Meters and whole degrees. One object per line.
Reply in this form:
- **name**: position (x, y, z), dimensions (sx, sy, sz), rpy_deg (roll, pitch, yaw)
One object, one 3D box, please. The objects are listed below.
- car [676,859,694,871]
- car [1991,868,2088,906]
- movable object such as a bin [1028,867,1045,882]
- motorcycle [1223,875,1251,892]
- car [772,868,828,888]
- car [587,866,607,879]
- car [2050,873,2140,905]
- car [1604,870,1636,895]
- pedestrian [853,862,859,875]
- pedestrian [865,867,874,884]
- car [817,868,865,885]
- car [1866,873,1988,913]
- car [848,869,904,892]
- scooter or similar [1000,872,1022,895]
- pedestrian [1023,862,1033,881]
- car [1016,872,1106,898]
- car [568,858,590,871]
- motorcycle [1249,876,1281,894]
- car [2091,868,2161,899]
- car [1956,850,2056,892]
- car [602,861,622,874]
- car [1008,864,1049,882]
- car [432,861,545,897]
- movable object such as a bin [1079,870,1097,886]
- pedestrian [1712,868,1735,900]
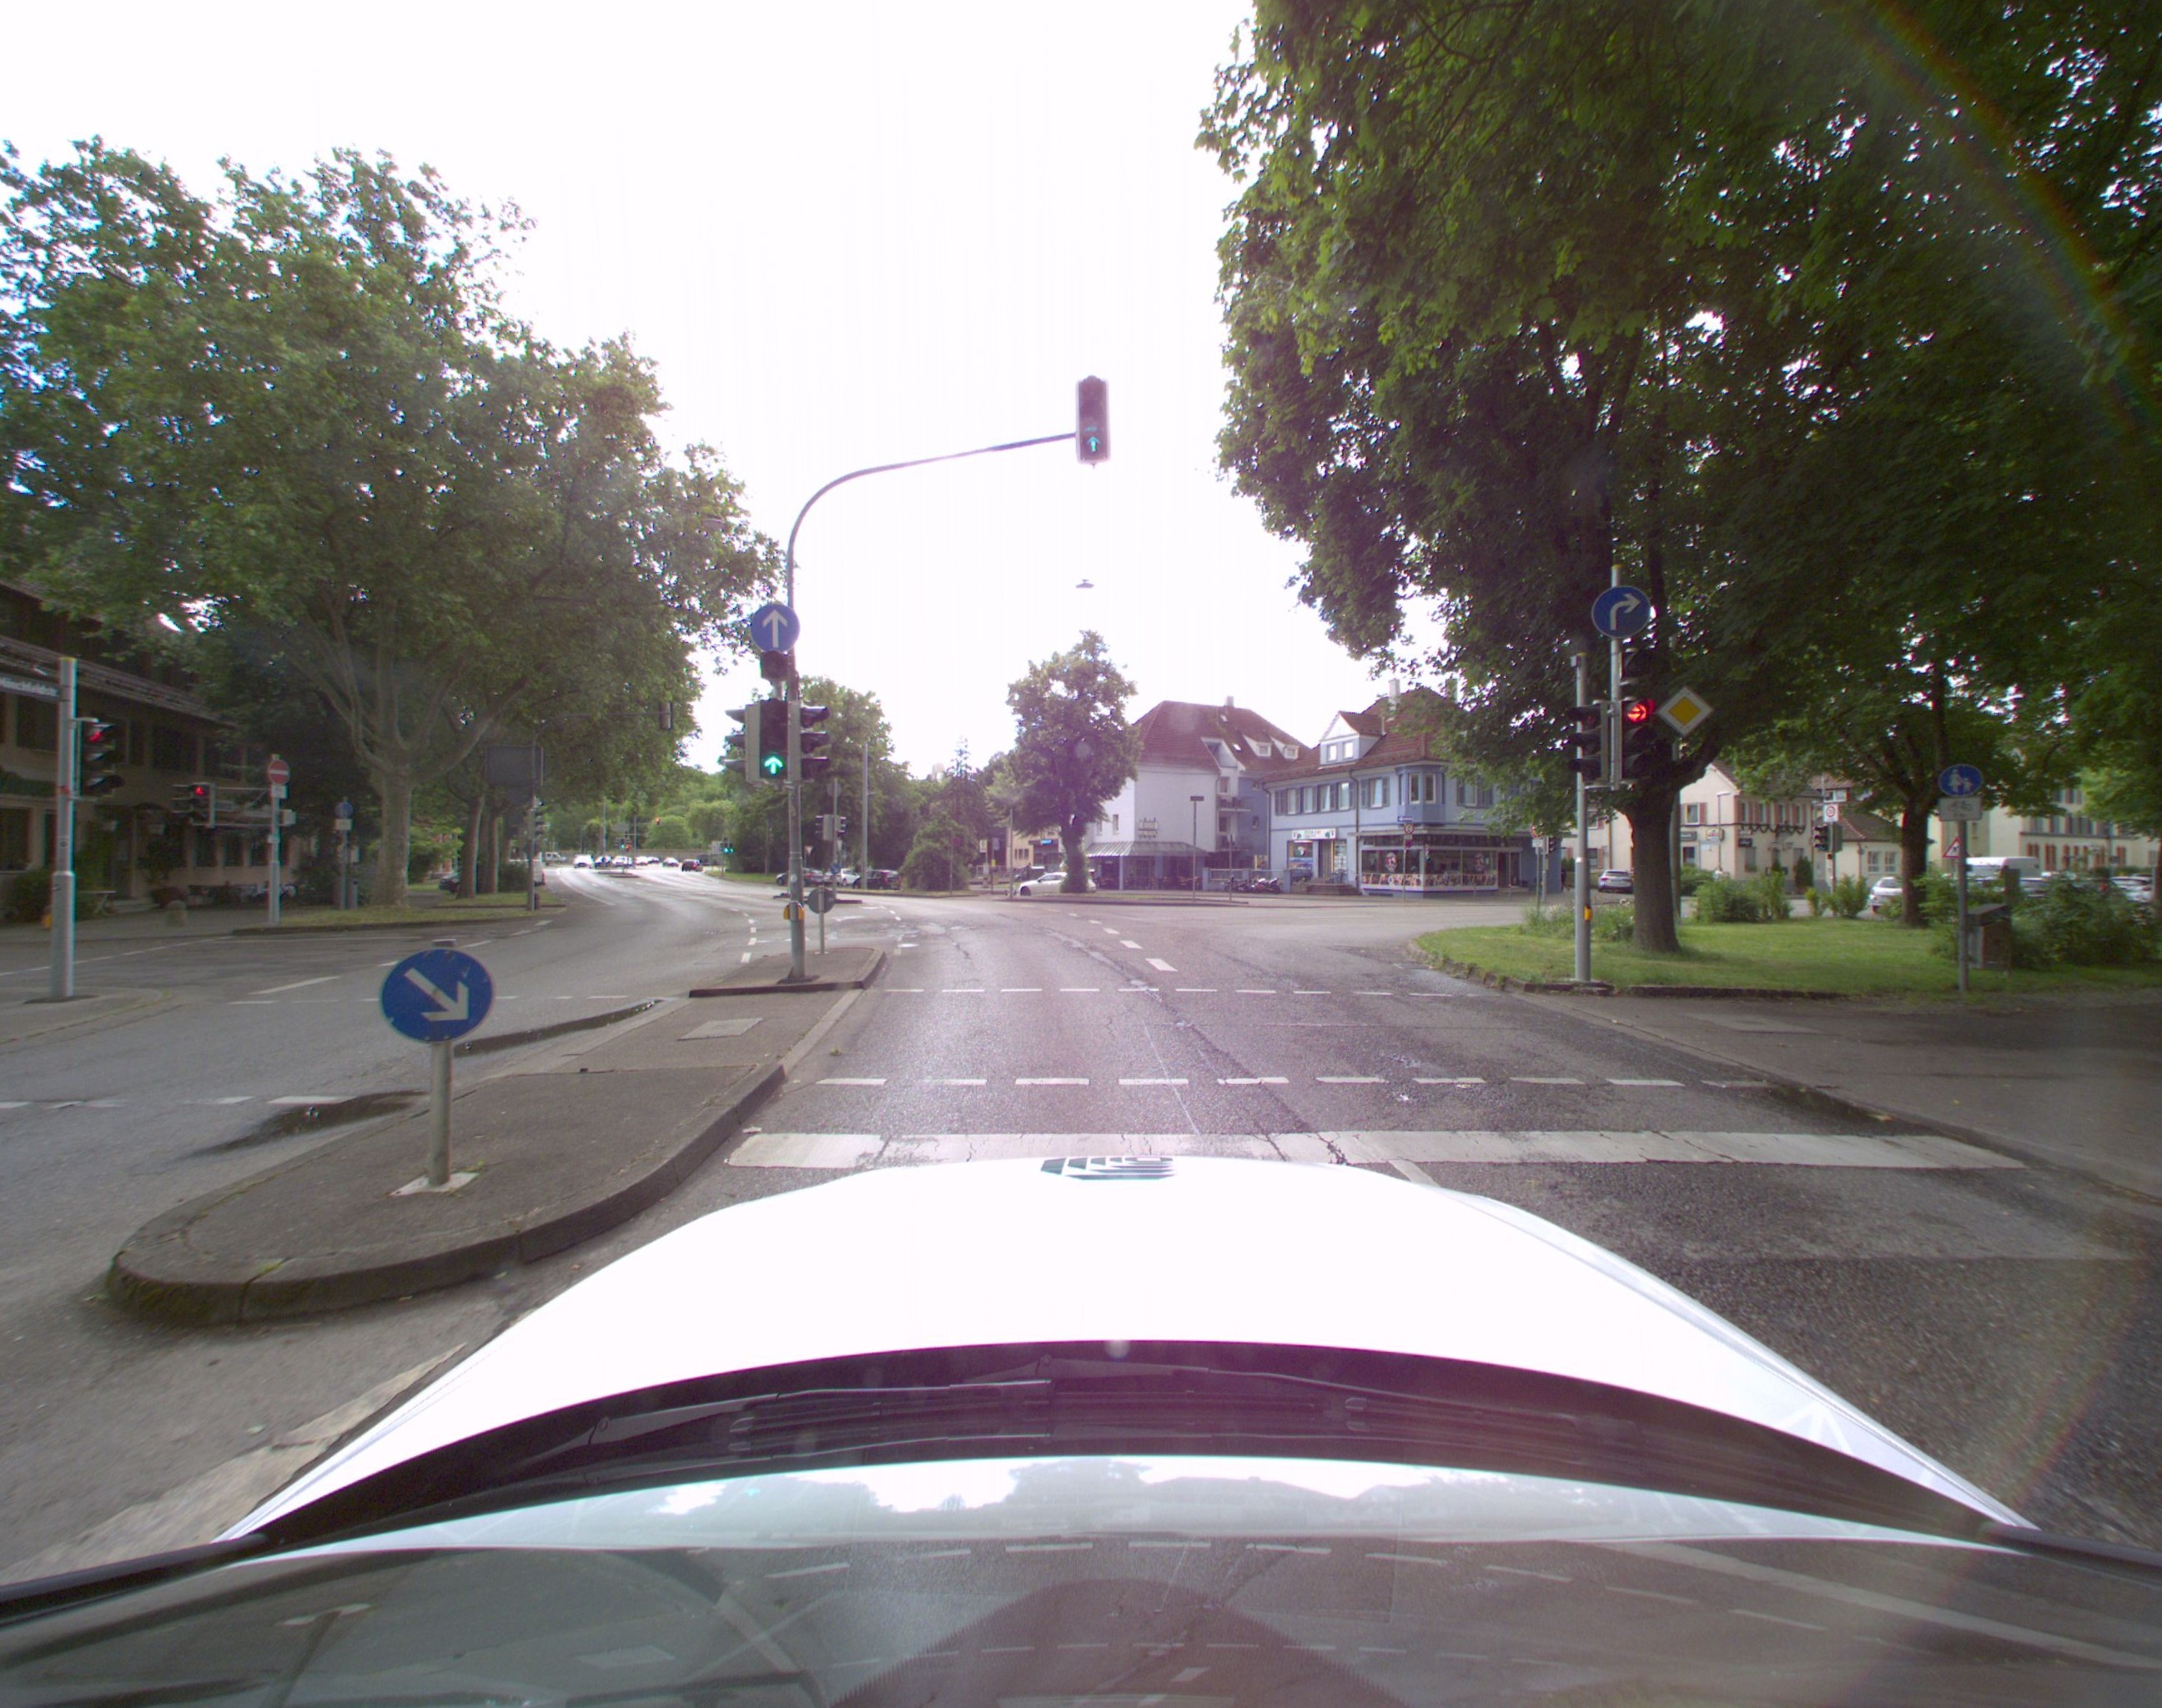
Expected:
- **car**: position (-49.507, 1.378, 101.876), dimensions (1.833, 1.509, 4.532), rpy_deg (0, -1, -28)
- **car**: position (42.497, 1.437, 36.115), dimensions (4.008, 1.572, 1.857), rpy_deg (0, -1, -27)
- **movable object such as a bin**: position (-3.987, 1.824, 73.608), dimensions (1.223, 1.345, 0.986), rpy_deg (0, -1, -29)
- **motorcycle**: position (9.460, 1.784, 49.461), dimensions (1.703, 1.031, 0.492), rpy_deg (-1, -2, 45)
- **car**: position (-22.219, 1.865, 64.372), dimensions (4.062, 1.429, 1.743), rpy_deg (1, 0, 24)
- **car**: position (-66.474, 2.493, 111.931), dimensions (1.805, 1.587, 4.380), rpy_deg (-2, 1, -24)
- **car**: position (47.552, 1.612, 38.176), dimensions (3.745, 1.390, 1.725), rpy_deg (0, -1, -24)
- **car**: position (32.817, 1.726, 49.656), dimensions (1.551, 1.462, 3.461), rpy_deg (-1, -1, 32)
- **pedestrian**: position (-25.803, 1.655, 93.398), dimensions (0.512, 1.531, 0.773), rpy_deg (1, -1, -20)
- **pedestrian**: position (-20.194, 2.051, 77.635), dimensions (0.687, 1.551, 0.736), rpy_deg (0, -1, -30)
- **car**: position (-19.702, 1.821, 66.992), dimensions (1.746, 1.381, 4.278), rpy_deg (0, -1, 15)
- **car**: position (33.284, 1.494, 32.043), dimensions (4.552, 1.456, 1.885), rpy_deg (0, -1, -24)
- **car**: position (-13.502, 1.747, 53.601), dimensions (3.450, 1.404, 1.583), rpy_deg (0, -1, 30)
- **scooter or similar**: position (-3.639, 1.542, 42.340), dimensions (0.407, 1.167, 1.370), rpy_deg (0, -4, 28)
- **pedestrian**: position (-4.822, 1.604, 74.453), dimensions (0.691, 1.729, 0.605), rpy_deg (0, -2, -29)
- **car**: position (-1.155, 1.692, 45.221), dimensions (4.726, 1.386, 2.013), rpy_deg (-1, -1, 37)
- **car**: position (-59.191, 1.209, 96.115), dimensions (1.771, 1.466, 3.987), rpy_deg (-1, -1, -26)
- **motorcycle**: position (10.724, 1.791, 47.556), dimensions (1.800, 0.985, 0.525), rpy_deg (-1, -2, 45)
- **car**: position (53.201, 1.452, 40.983), dimensions (4.407, 1.456, 1.910), rpy_deg (0, -1, -24)
- **car**: position (56.163, 1.030, 49.432), dimensions (5.966, 2.392, 2.318), rpy_deg (0, -1, -24)
- **car**: position (-70.339, 2.015, 122.244), dimensions (1.919, 1.763, 4.717), rpy_deg (0, 0, -22)
- **car**: position (-4.857, 1.721, 75.608), dimensions (3.428, 1.631, 1.612), rpy_deg (0, -1, -23)
- **car**: position (-36.302, 1.506, 49.985), dimensions (2.058, 1.931, 5.276), rpy_deg (-1, 1, 42)
- **movable object such as a bin**: position (0.623, 2.069, 69.962), dimensions (1.218, 1.395, 1.153), rpy_deg (0, -1, -19)
- **pedestrian**: position (34.613, 1.621, 43.858), dimensions (0.648, 1.697, 0.750), rpy_deg (1, -2, -27)
